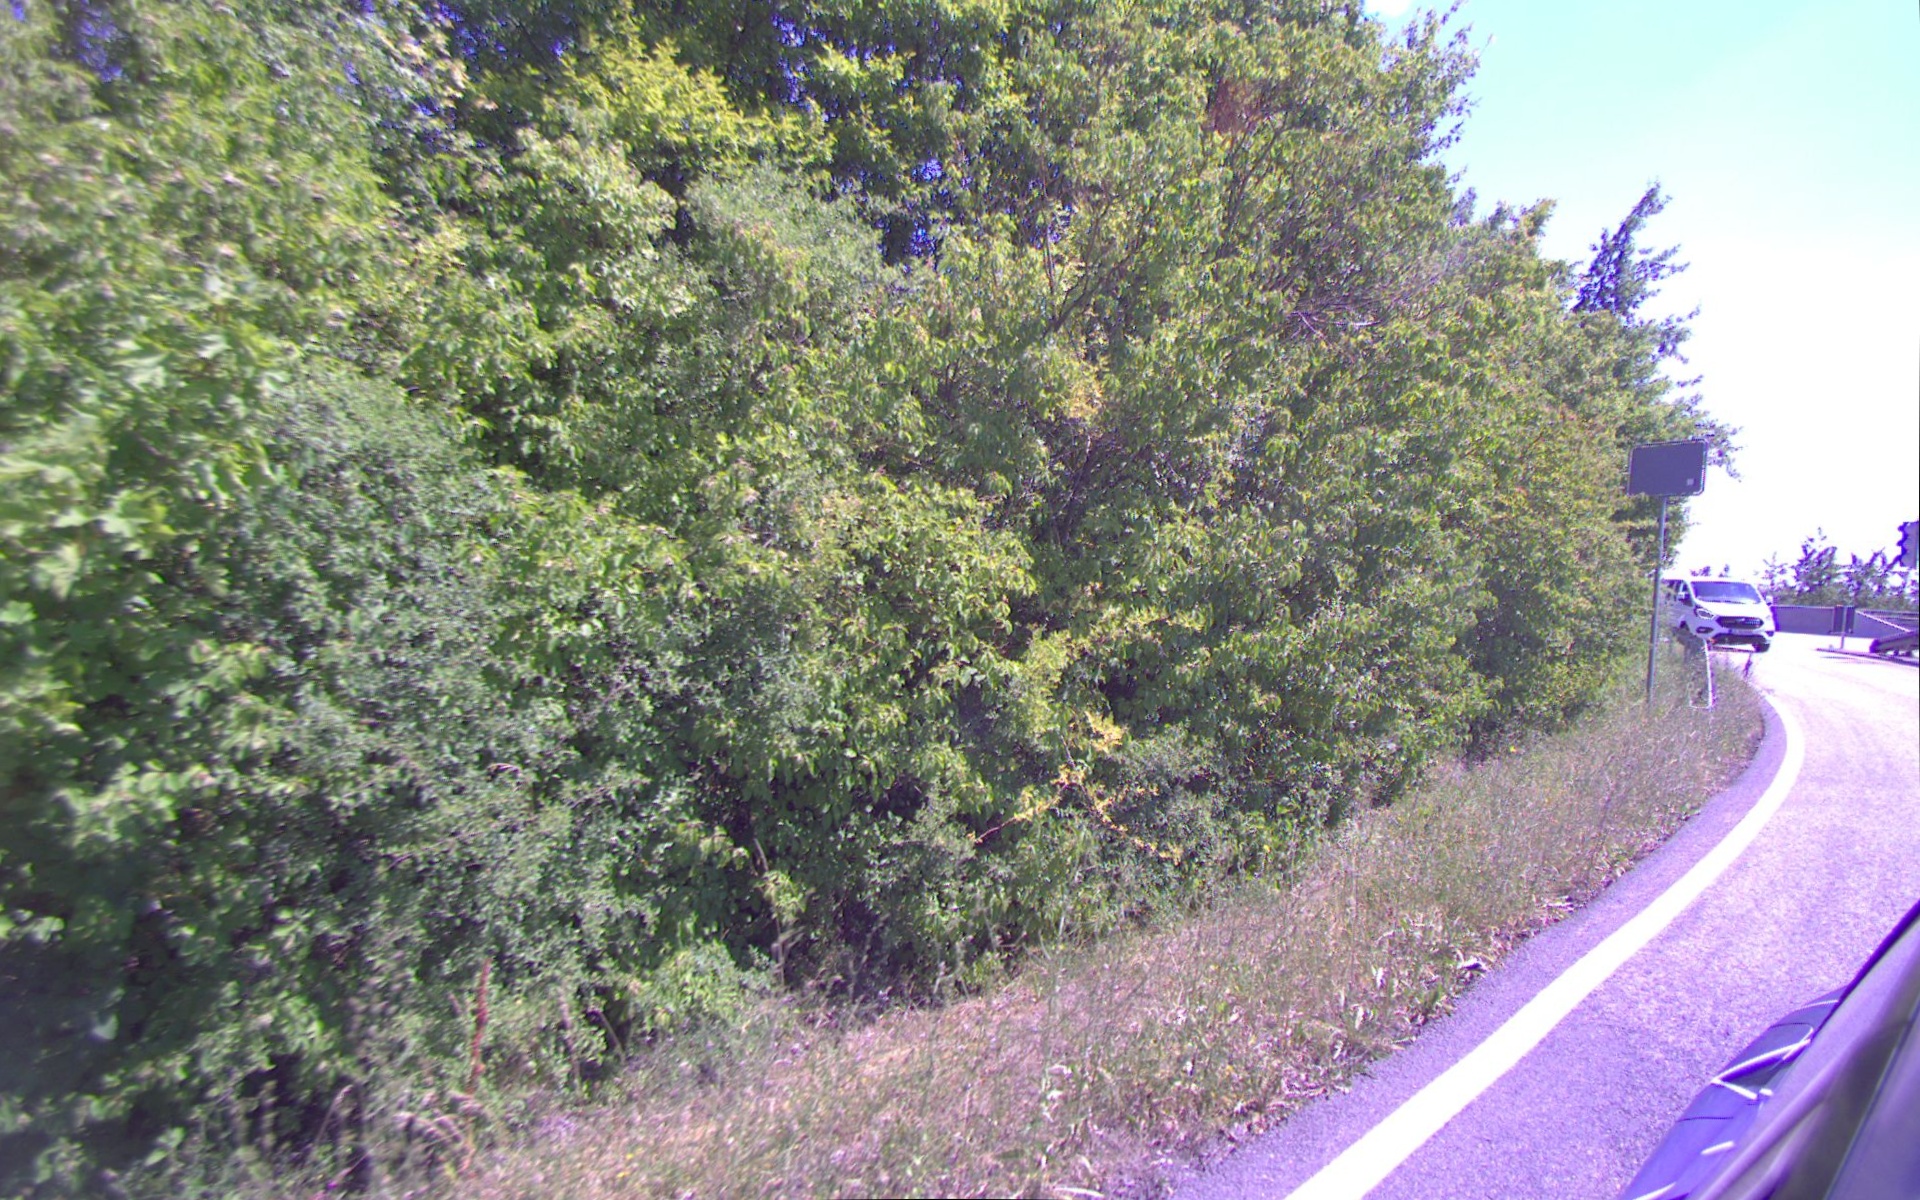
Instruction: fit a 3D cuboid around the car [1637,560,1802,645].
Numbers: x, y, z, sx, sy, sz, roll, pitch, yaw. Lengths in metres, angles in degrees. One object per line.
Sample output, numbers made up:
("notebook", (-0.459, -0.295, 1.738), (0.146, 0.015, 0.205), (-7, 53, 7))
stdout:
("car", (21.679, 0.126, 29.233), (2.006, 2.111, 5.834), (4, 0, 19))
